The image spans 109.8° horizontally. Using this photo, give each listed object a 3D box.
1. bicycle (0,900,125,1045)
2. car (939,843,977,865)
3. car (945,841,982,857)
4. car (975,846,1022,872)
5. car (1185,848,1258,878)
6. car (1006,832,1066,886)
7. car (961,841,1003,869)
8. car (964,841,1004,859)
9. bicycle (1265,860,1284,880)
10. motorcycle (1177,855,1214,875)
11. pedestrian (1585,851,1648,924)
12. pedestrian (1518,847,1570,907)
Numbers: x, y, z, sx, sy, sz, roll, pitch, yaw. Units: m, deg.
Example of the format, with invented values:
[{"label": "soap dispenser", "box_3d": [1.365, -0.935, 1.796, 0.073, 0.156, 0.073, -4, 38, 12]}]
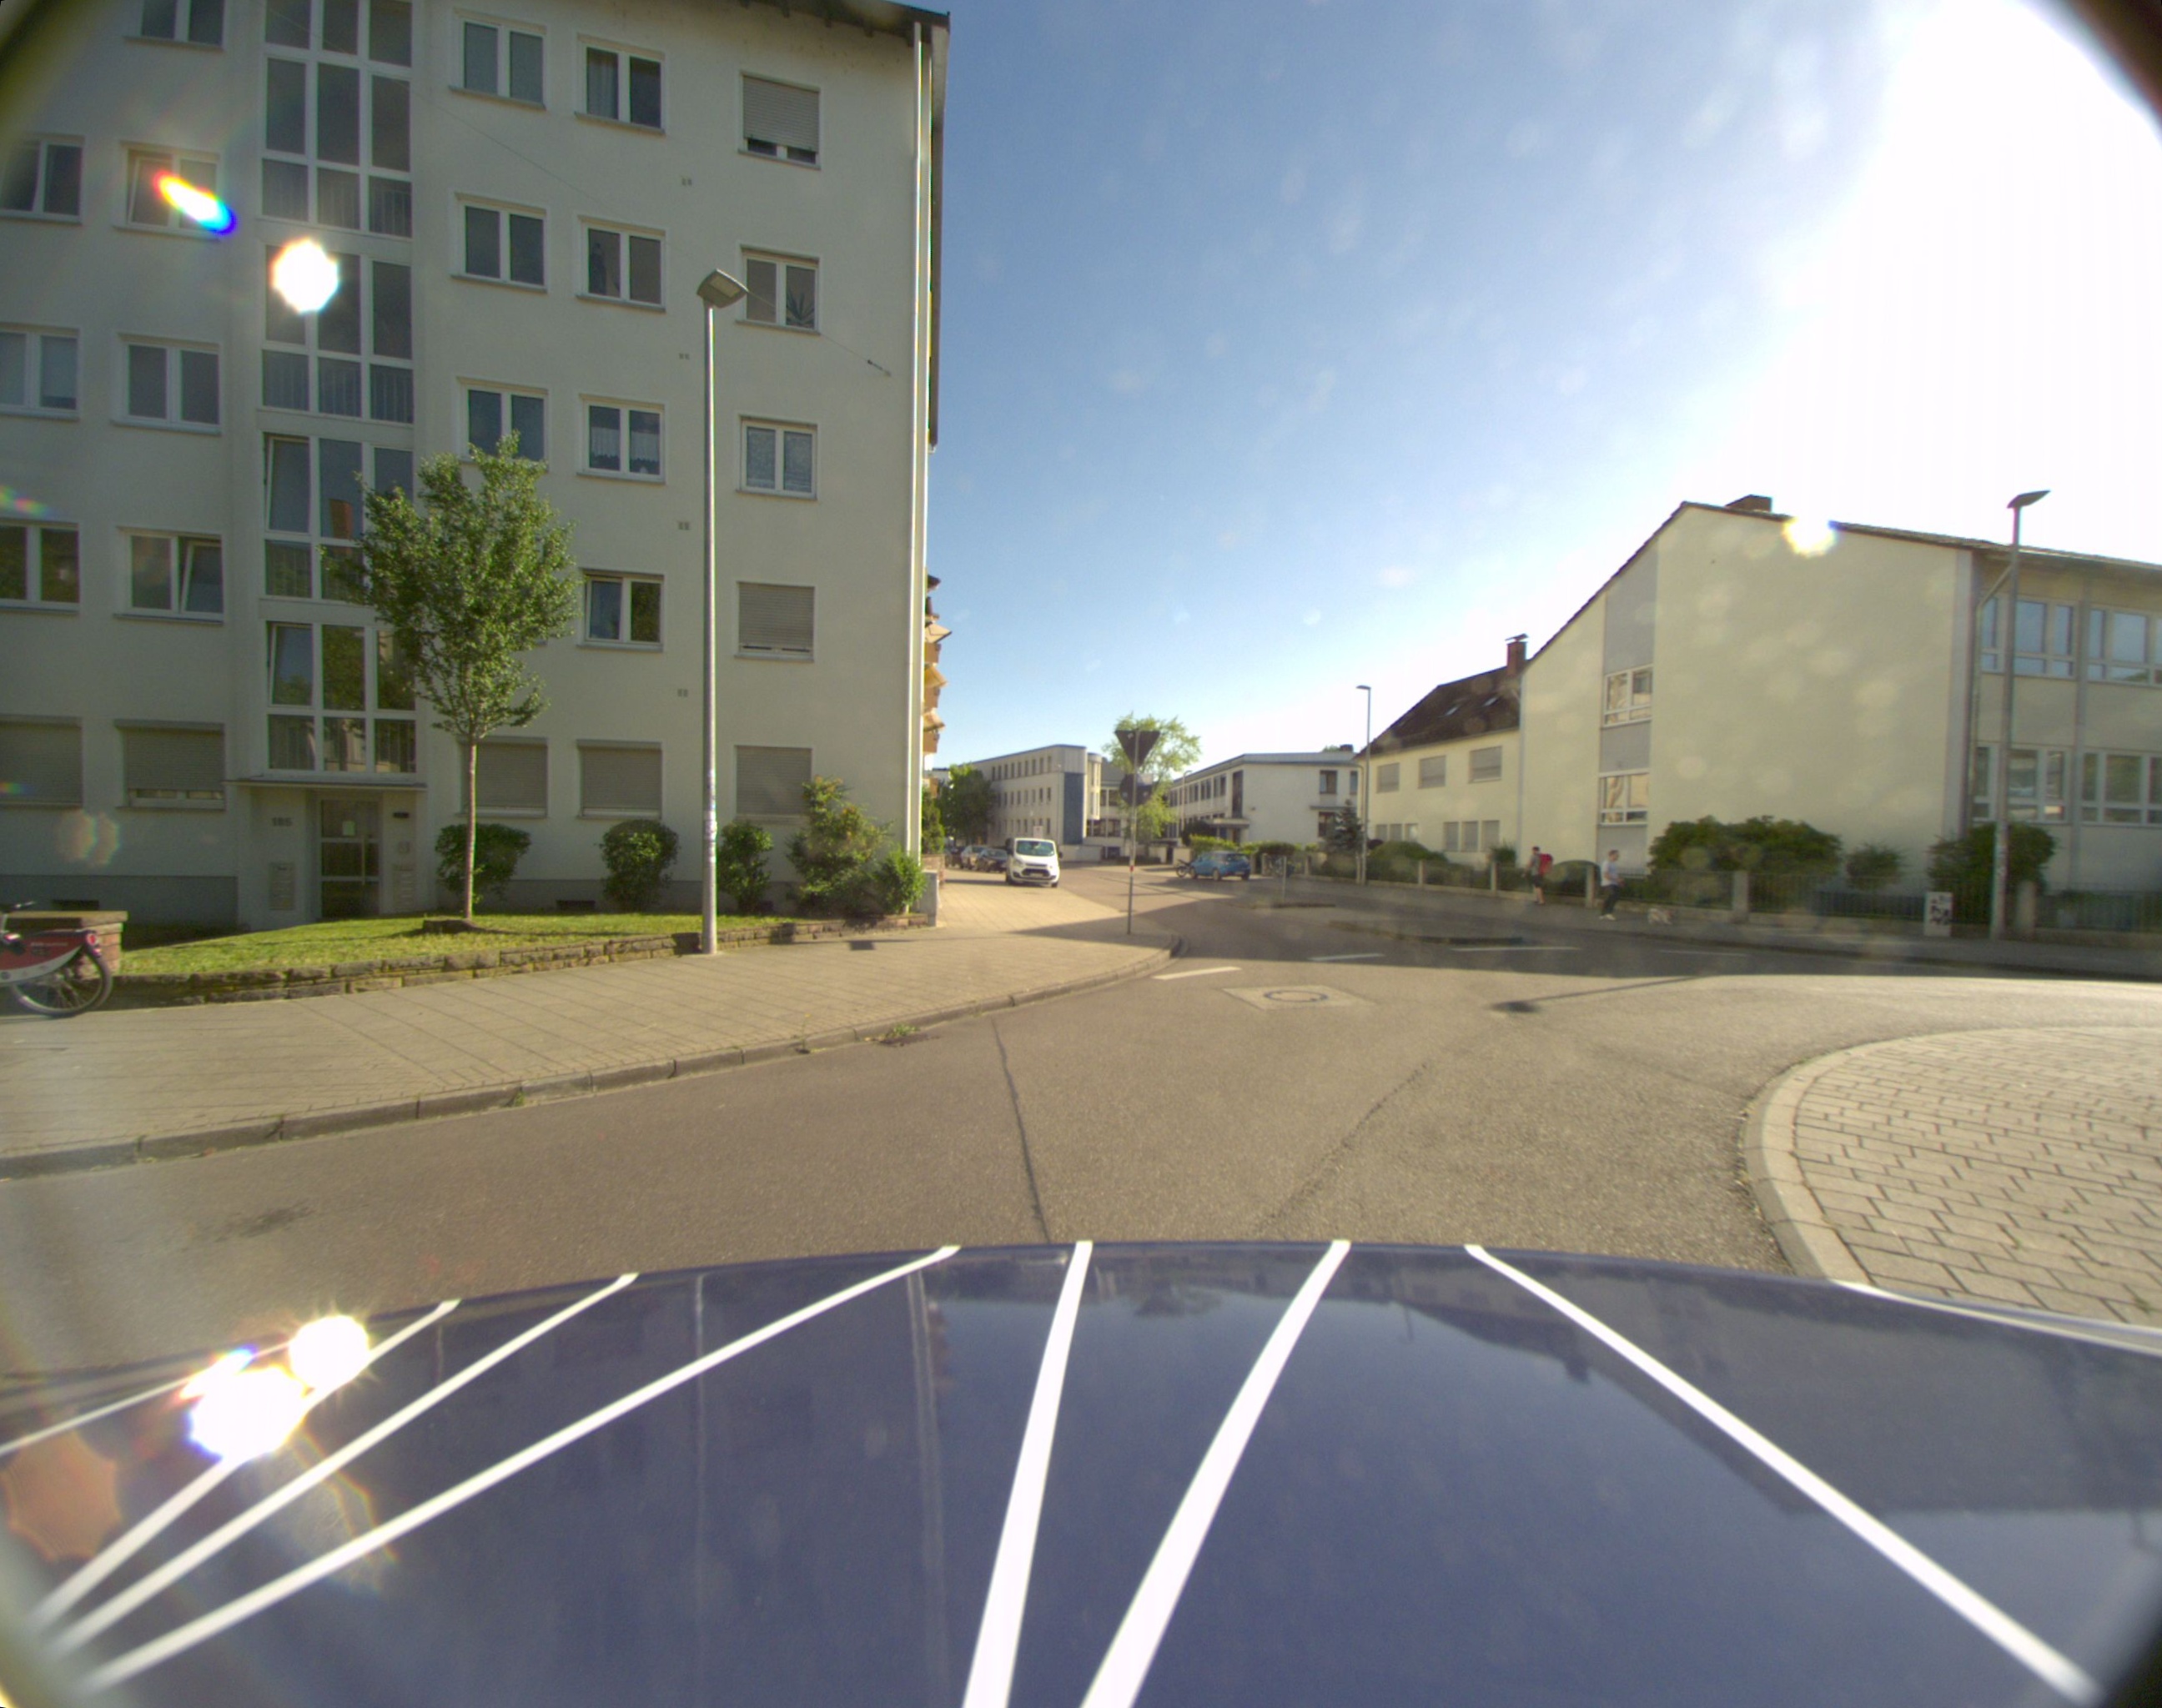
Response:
[{"label": "bicycle", "box_3d": [-8.679, 0.916, 5.874, 1.626, 1.073, 0.383, 0, 4, -17]}, {"label": "car", "box_3d": [-9.238, -0.020, 56.750, 1.761, 1.445, 3.991, 4, 0, -24]}, {"label": "car", "box_3d": [-12.308, -0.545, 79.342, 2.142, 1.604, 4.823, -2, 2, -31]}, {"label": "car", "box_3d": [-5.020, 0.273, 45.883, 1.761, 1.386, 3.991, 4, 0, -22]}, {"label": "car", "box_3d": [7.143, 0.415, 39.091, 1.887, 1.426, 4.407, -1, 1, -16]}, {"label": "car", "box_3d": [-1.995, 0.154, 32.051, 2.000, 2.002, 4.792, 4, 0, -9]}, {"label": "car", "box_3d": [-6.600, 0.044, 50.179, 1.761, 1.632, 3.992, 4, 0, -21]}, {"label": "car", "box_3d": [-9.580, -0.432, 74.630, 2.142, 1.604, 4.823, -2, 2, -31]}, {"label": "bicycle", "box_3d": [10.290, 0.829, 40.439, 0.346, 1.010, 1.261, 1, 1, -15]}, {"label": "motorcycle", "box_3d": [6.316, 0.585, 41.963, 1.960, 1.089, 0.591, 0, 1, 12]}, {"label": "pedestrian", "box_3d": [12.959, 0.775, 18.412, 0.693, 1.696, 0.995, -1, 2, -18]}, {"label": "pedestrian", "box_3d": [13.540, 0.646, 22.244, 0.820, 1.696, 0.996, 0, 2, -11]}]
